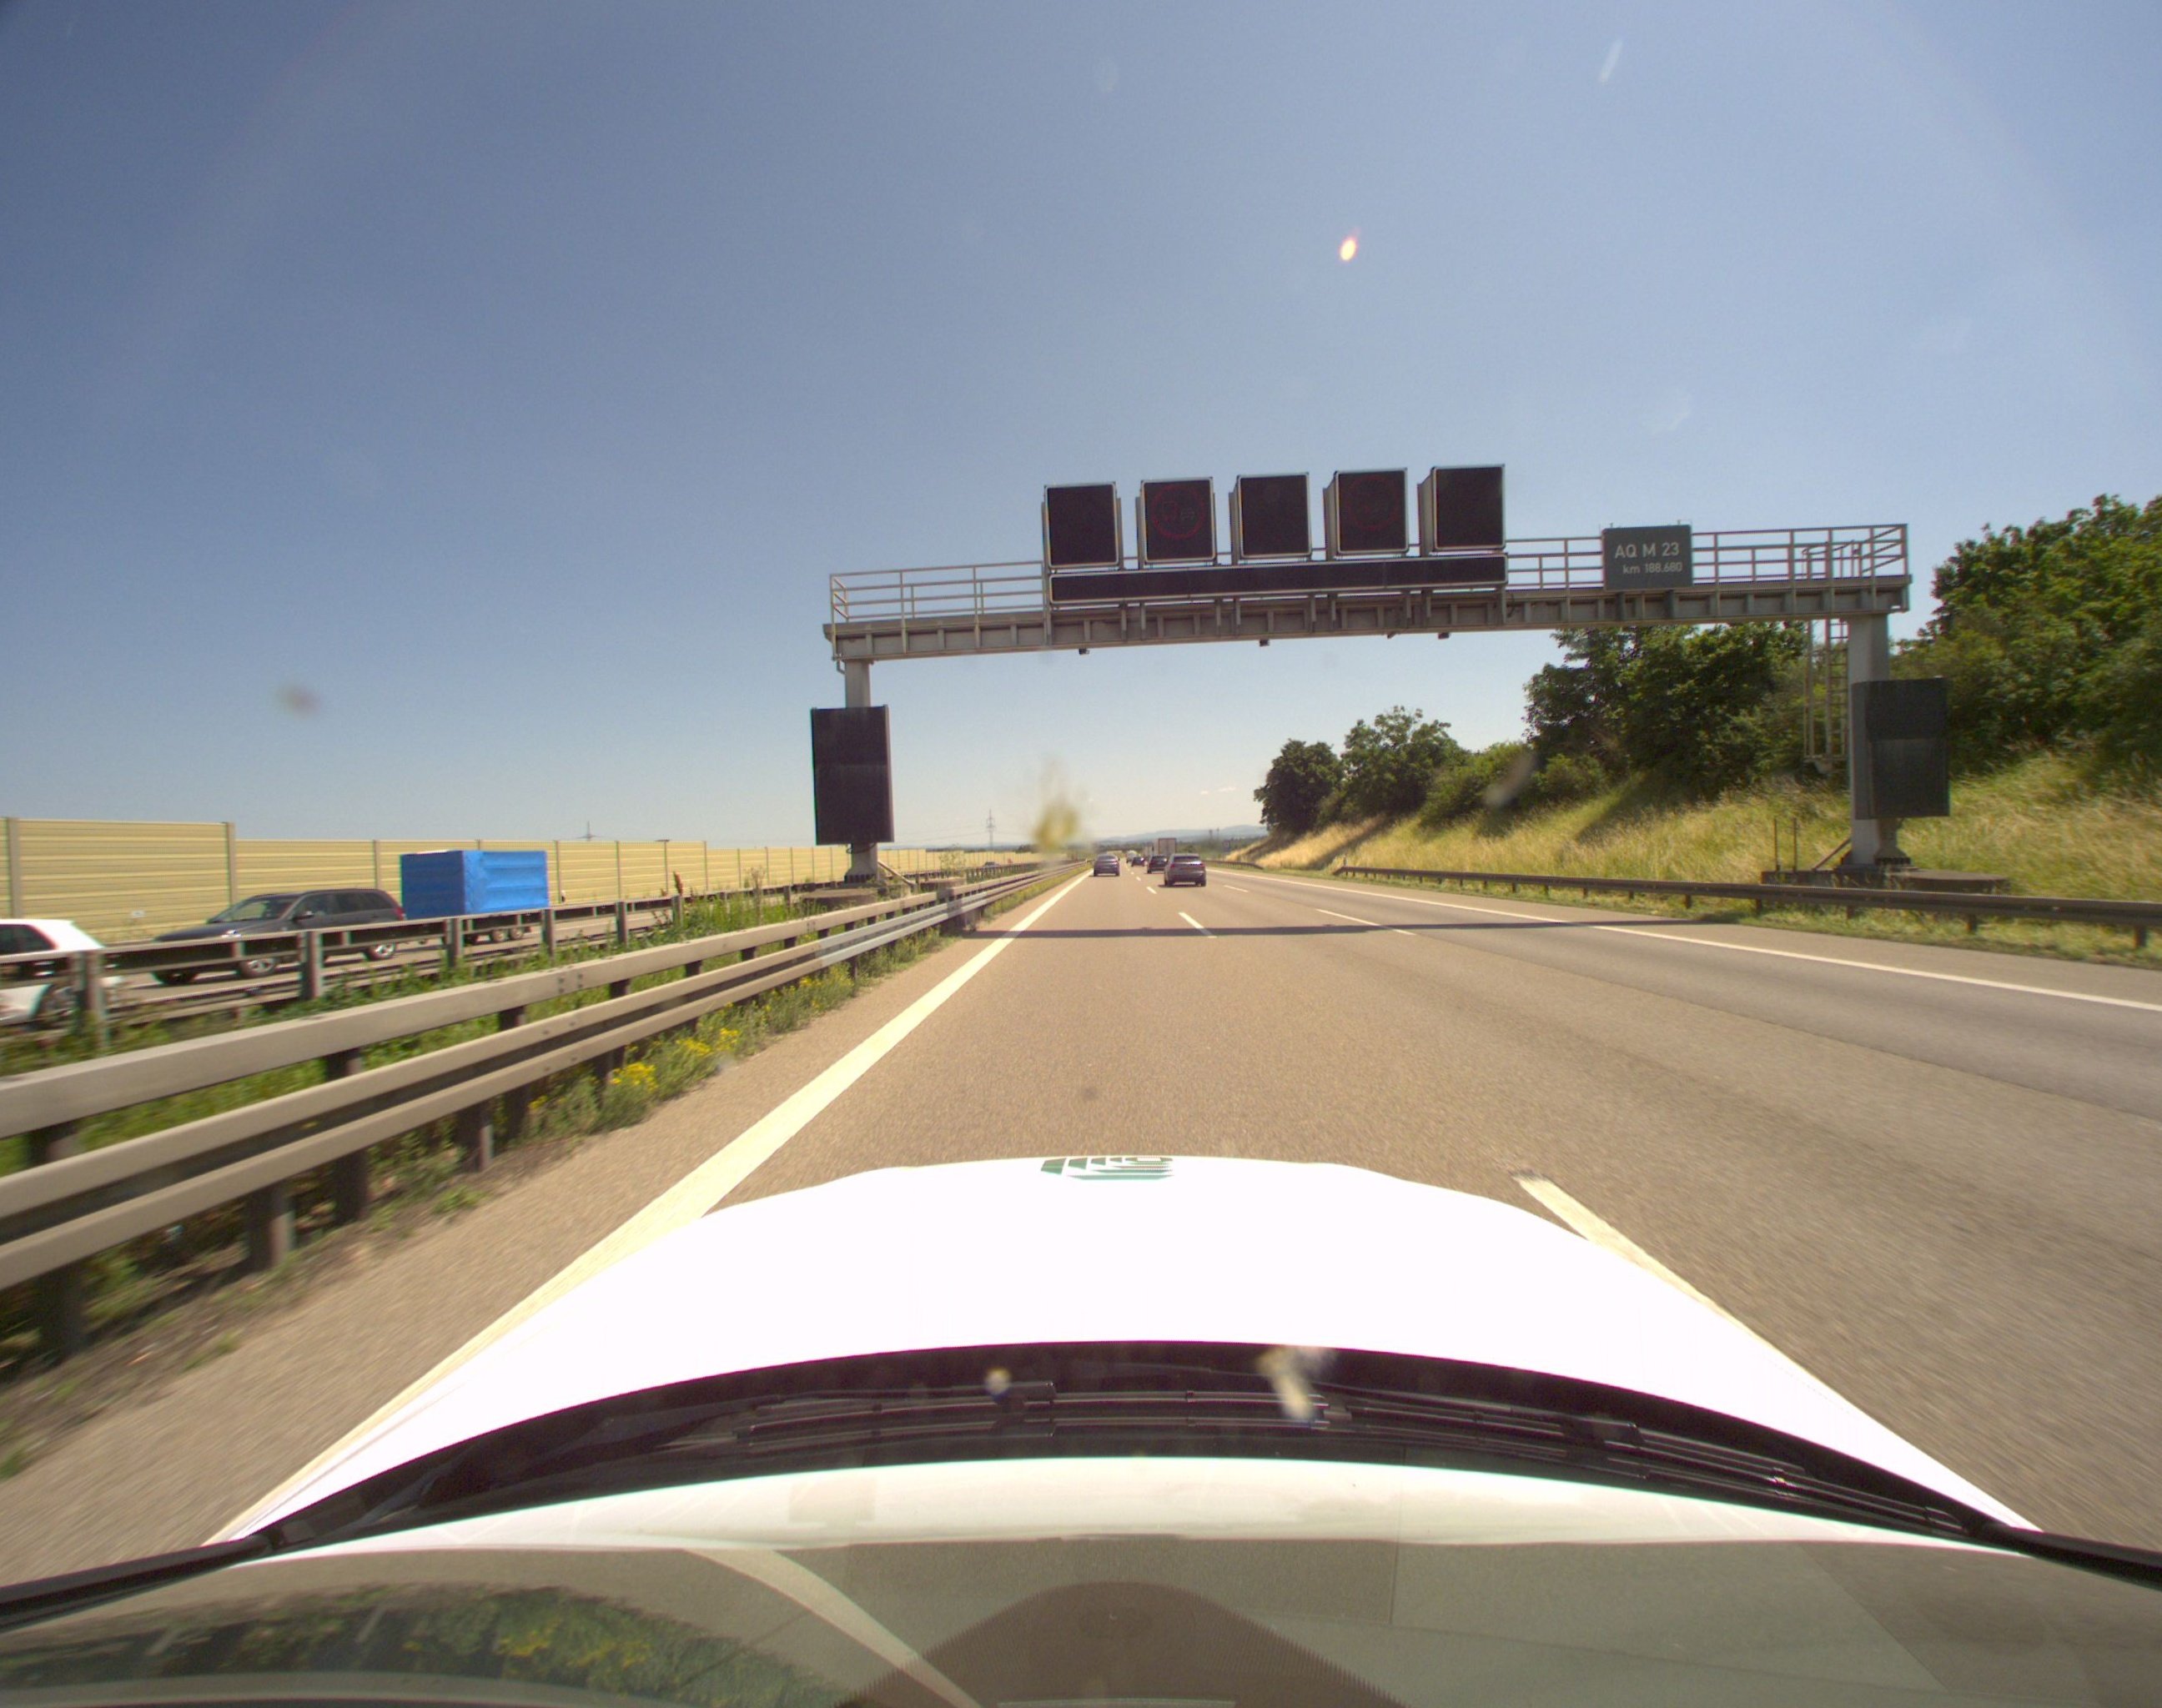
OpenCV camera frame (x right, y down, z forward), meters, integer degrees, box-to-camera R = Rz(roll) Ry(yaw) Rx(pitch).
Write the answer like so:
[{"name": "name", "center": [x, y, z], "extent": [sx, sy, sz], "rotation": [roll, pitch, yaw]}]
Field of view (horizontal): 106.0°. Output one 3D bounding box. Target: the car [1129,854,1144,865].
[{"name": "car", "center": [7.749, 0.772, 113.667], "extent": [1.924, 1.574, 4.939], "rotation": [0, -1, 4]}]

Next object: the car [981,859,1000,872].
[{"name": "car", "center": [-12.806, 1.619, 115.287], "extent": [1.889, 1.570, 5.249], "rotation": [-3, 0, 2]}]

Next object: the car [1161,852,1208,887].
[{"name": "car", "center": [5.016, 0.746, 40.151], "extent": [1.844, 1.648, 4.646], "rotation": [0, -1, 1]}]

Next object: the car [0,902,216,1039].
[{"name": "car", "center": [-13.131, 1.440, 9.043], "extent": [1.886, 1.431, 4.724], "rotation": [-5, -1, 1]}]

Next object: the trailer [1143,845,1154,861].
[{"name": "trailer", "center": [17.800, -0.234, 214.931], "extent": [2.929, 4.198, 13.612], "rotation": [0, -1, 5]}]

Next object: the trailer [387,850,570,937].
[{"name": "trailer", "center": [-16.820, 1.046, 23.062], "extent": [1.987, 2.238, 4.205], "rotation": [0, -1, 1]}]

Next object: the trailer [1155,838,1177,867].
[{"name": "trailer", "center": [12.782, -0.136, 123.410], "extent": [2.855, 4.220, 13.307], "rotation": [0, -1, 4]}]

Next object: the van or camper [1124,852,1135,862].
[{"name": "van or camper", "center": [10.397, 0.694, 173.809], "extent": [2.101, 2.211, 5.271], "rotation": [0, -1, 4]}]

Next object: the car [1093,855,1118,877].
[{"name": "car", "center": [1.861, 0.897, 62.492], "extent": [1.844, 1.664, 3.736], "rotation": [0, -1, 1]}]

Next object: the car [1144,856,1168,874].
[{"name": "car", "center": [6.402, 0.932, 69.444], "extent": [1.790, 1.562, 3.824], "rotation": [0, -1, 1]}]

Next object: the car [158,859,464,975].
[{"name": "car", "center": [-16.876, 1.247, 18.352], "extent": [1.987, 2.225, 5.098], "rotation": [0, 0, 1]}]
